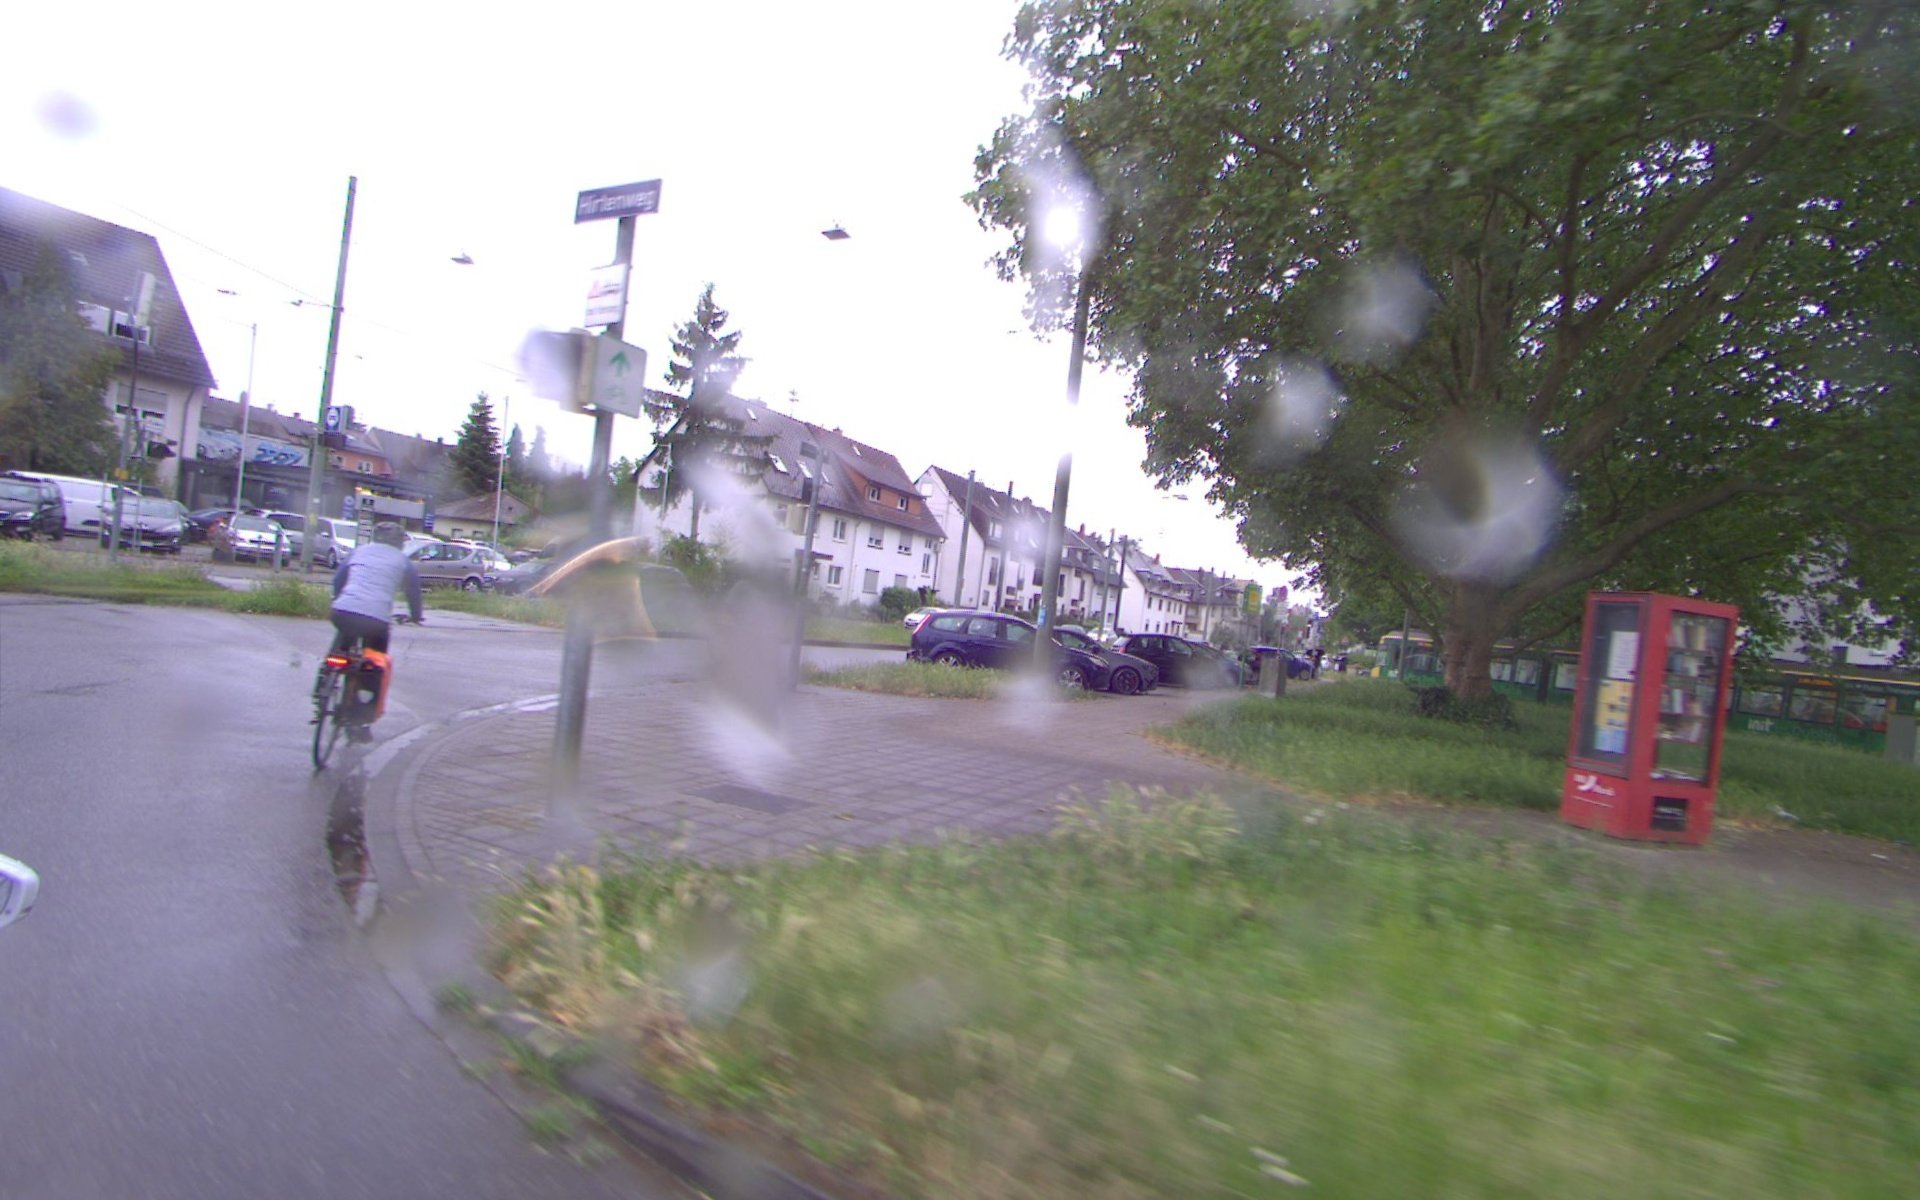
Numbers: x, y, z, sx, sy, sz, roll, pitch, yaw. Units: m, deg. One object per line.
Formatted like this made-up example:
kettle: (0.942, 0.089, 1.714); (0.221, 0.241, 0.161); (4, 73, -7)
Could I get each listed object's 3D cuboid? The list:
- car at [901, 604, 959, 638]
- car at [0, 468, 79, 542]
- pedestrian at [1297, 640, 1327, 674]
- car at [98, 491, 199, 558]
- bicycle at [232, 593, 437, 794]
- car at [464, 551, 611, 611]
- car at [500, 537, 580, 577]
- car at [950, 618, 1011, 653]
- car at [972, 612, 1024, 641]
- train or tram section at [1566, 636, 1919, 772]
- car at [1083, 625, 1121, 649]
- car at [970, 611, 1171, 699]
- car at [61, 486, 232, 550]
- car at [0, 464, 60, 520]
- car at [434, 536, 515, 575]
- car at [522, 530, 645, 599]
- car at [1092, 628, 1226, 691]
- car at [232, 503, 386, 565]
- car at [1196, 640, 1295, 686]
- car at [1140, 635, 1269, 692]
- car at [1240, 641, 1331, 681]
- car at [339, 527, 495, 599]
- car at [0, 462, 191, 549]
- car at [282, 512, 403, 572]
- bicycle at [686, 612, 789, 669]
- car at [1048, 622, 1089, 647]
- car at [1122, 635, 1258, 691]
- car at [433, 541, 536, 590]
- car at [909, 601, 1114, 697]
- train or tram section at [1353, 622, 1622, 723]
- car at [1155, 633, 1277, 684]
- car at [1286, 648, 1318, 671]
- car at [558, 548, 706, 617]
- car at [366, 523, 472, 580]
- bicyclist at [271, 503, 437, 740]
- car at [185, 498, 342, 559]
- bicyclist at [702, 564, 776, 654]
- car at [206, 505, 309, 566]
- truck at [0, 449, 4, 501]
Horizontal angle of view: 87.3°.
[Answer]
car: (-1.702, 1.248, 58.650); (1.578, 1.439, 3.943); (7, -2, 27)
car: (-25.045, -2.524, 26.442); (1.978, 1.738, 3.968); (6, 0, -30)
pedestrian: (19.506, 3.146, 55.750); (1.030, 1.735, 1.079); (6, 0, -8)
car: (-23.524, -2.154, 29.312); (1.818, 1.521, 4.021); (9, -2, -35)
bicycle: (-4.188, 0.567, 6.904); (0.744, 1.086, 1.917); (6, 1, -20)
car: (-14.138, -0.598, 33.937); (1.693, 1.354, 4.388); (7, -3, 27)
car: (-21.581, -2.169, 51.849); (1.830, 1.600, 4.402); (6, -1, 5)
car: (1.213, 2.045, 57.593); (1.712, 1.503, 3.999); (7, -2, 28)
car: (2.621, 1.791, 67.654); (1.578, 1.439, 4.666); (7, -3, 27)
train or tram section: (30.928, 3.810, 38.737); (2.675, 3.632, 14.686); (8, -1, -16)
car: (10.986, 2.854, 77.736); (1.578, 1.439, 3.819); (7, -2, 27)
car: (2.579, 1.287, 24.197); (4.467, 1.494, 1.803); (7, 0, -2)
car: (-30.045, -2.999, 37.327); (1.966, 1.708, 4.440); (6, -1, 29)
car: (-33.886, -3.904, 34.201); (1.966, 1.708, 4.440); (6, -1, 29)
car: (-26.176, -2.372, 54.376); (1.760, 1.600, 4.449); (6, -1, 5)
car: (-17.168, -1.636, 45.862); (5.058, 2.433, 2.152); (7, -2, 27)
car: (5.949, 1.776, 30.227); (3.456, 1.524, 1.753); (6, -1, -9)
car: (-24.249, -2.431, 37.657); (1.730, 1.708, 4.440); (6, -1, 29)
car: (11.755, 2.570, 41.534); (3.531, 1.498, 1.638); (5, 0, 1)
car: (8.648, 2.222, 35.758); (3.930, 1.571, 1.960); (6, -2, -8)
car: (16.857, 3.163, 52.253); (3.928, 1.502, 1.997); (6, 1, -5)
car: (-16.063, -1.052, 29.944); (1.692, 1.521, 3.644); (7, -2, 26)
car: (-27.431, -2.921, 31.795); (1.966, 2.038, 4.440); (6, -1, 29)
car: (-21.289, -1.995, 34.647); (3.805, 1.598, 1.805); (7, 1, 28)
bicycle: (-4.193, 0.795, 19.118); (0.809, 0.923, 1.985); (6, -2, 24)
car: (8.688, 2.747, 80.236); (1.850, 1.520, 4.134); (7, -2, 26)
car: (7.563, 2.067, 33.246); (3.931, 1.519, 1.822); (4, -1, -10)
car: (-18.828, -1.356, 39.788); (3.777, 1.412, 1.721); (7, -2, 30)
car: (1.027, 1.012, 21.609); (4.102, 1.494, 1.803); (7, 0, -3)
train or tram section: (26.818, 3.457, 52.819); (2.675, 3.632, 14.686); (8, -1, -16)
car: (9.770, 2.218, 38.567); (4.048, 1.498, 1.865); (6, 0, -5)
car: (27.479, 4.805, 80.753); (1.926, 1.571, 3.998); (5, -2, 26)
car: (-10.868, -0.537, 33.713); (1.964, 1.623, 4.574); (7, -2, 25)
car: (-20.129, -1.803, 37.404); (3.556, 1.591, 1.721); (7, -2, 30)
bicyclist: (-4.209, 0.143, 7.056); (0.742, 1.505, 0.842); (6, 2, -21)
car: (-26.598, -2.695, 38.566); (1.966, 1.708, 4.440); (6, -1, 29)
bicyclist: (-4.170, 0.179, 19.031); (0.818, 1.577, 0.913); (6, -1, 24)
car: (-22.207, -2.071, 31.752); (4.006, 1.521, 1.825); (6, -3, 44)
truck: (-32.642, -3.861, 29.853); (6.064, 2.300, 1.975); (7, -1, -44)
